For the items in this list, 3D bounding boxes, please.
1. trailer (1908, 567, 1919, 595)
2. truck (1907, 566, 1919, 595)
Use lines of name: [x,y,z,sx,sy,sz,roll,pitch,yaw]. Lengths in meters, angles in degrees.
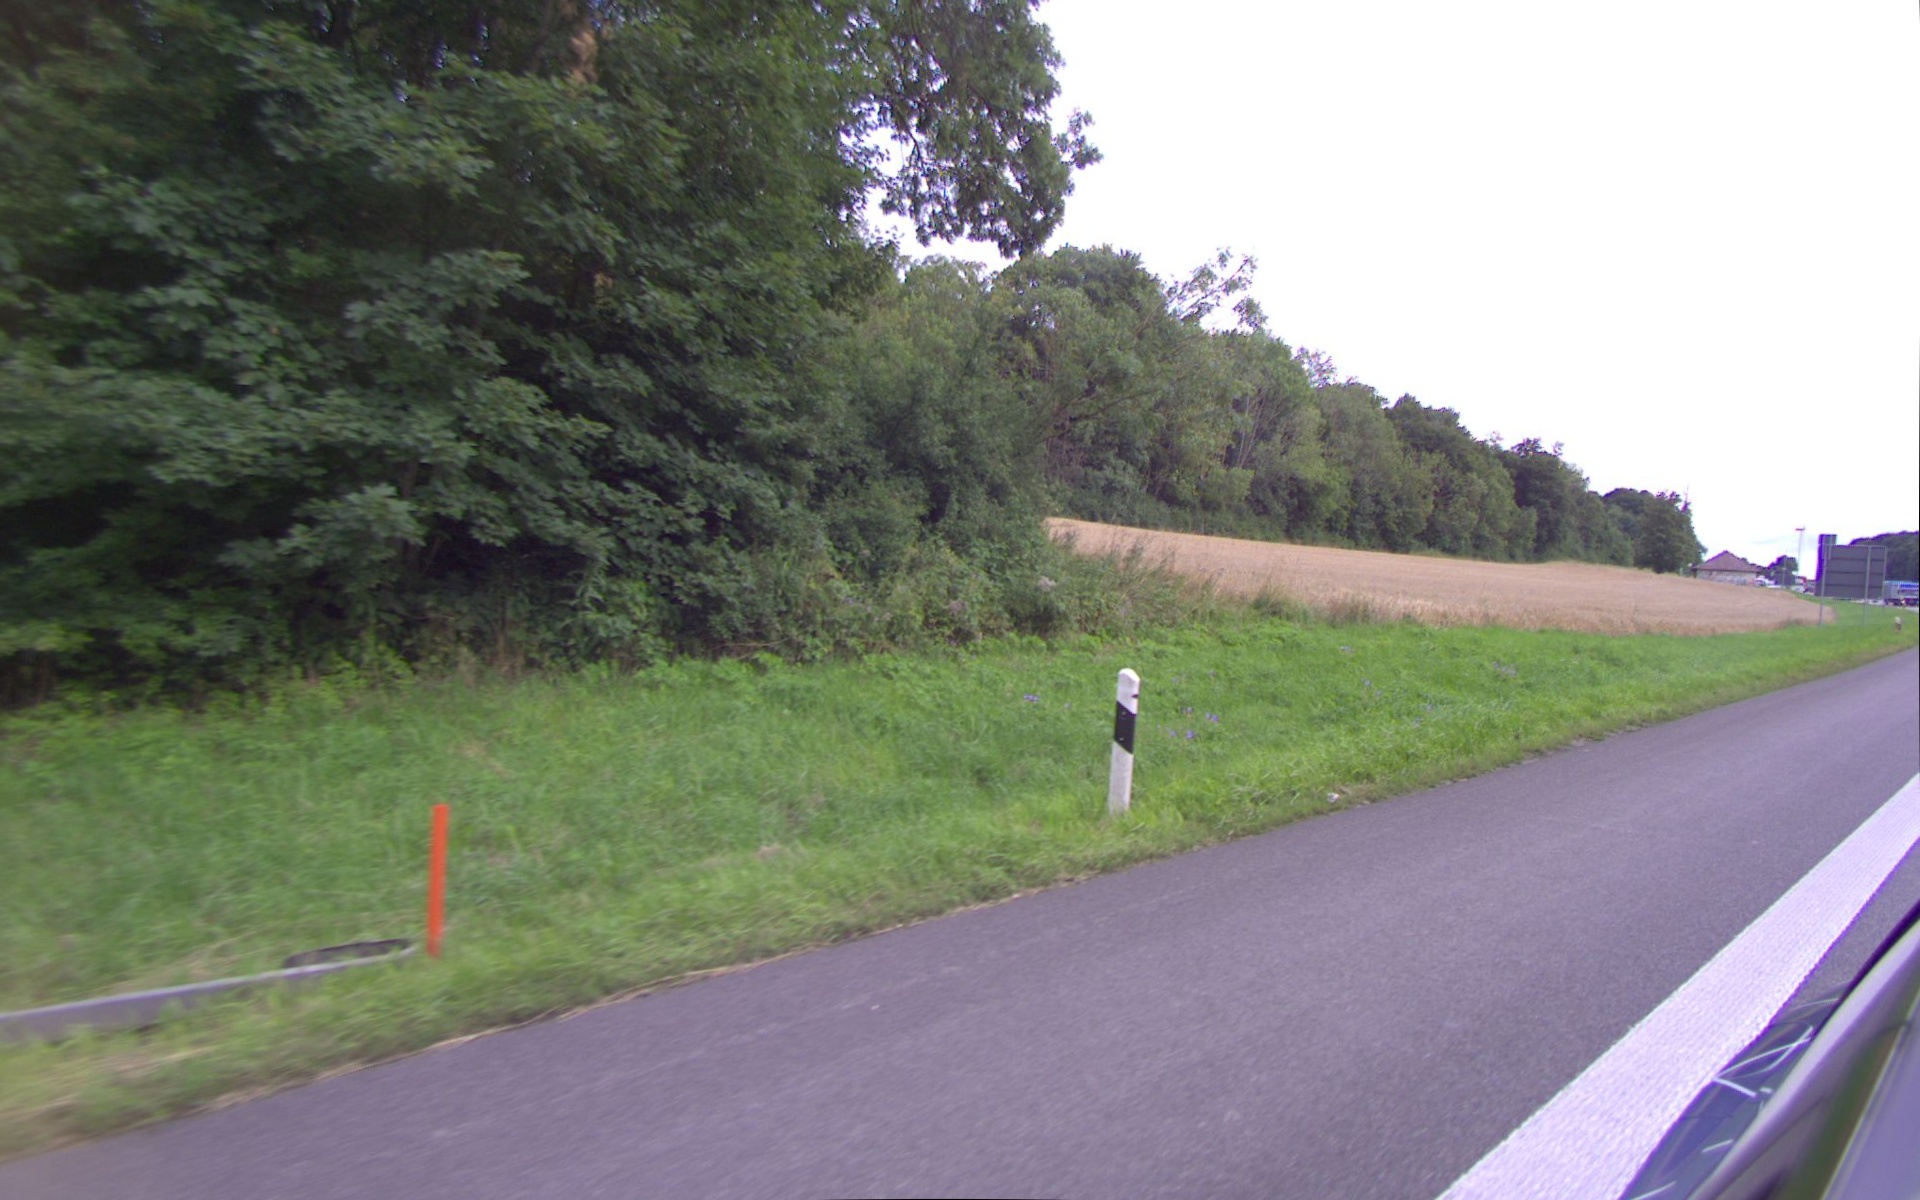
trailer: [143.308,-2.865,150.933,2.780,4.004,11.119,1,2,43]
truck: [138.748,-2.786,146.099,2.789,4.021,5.847,1,1,44]
